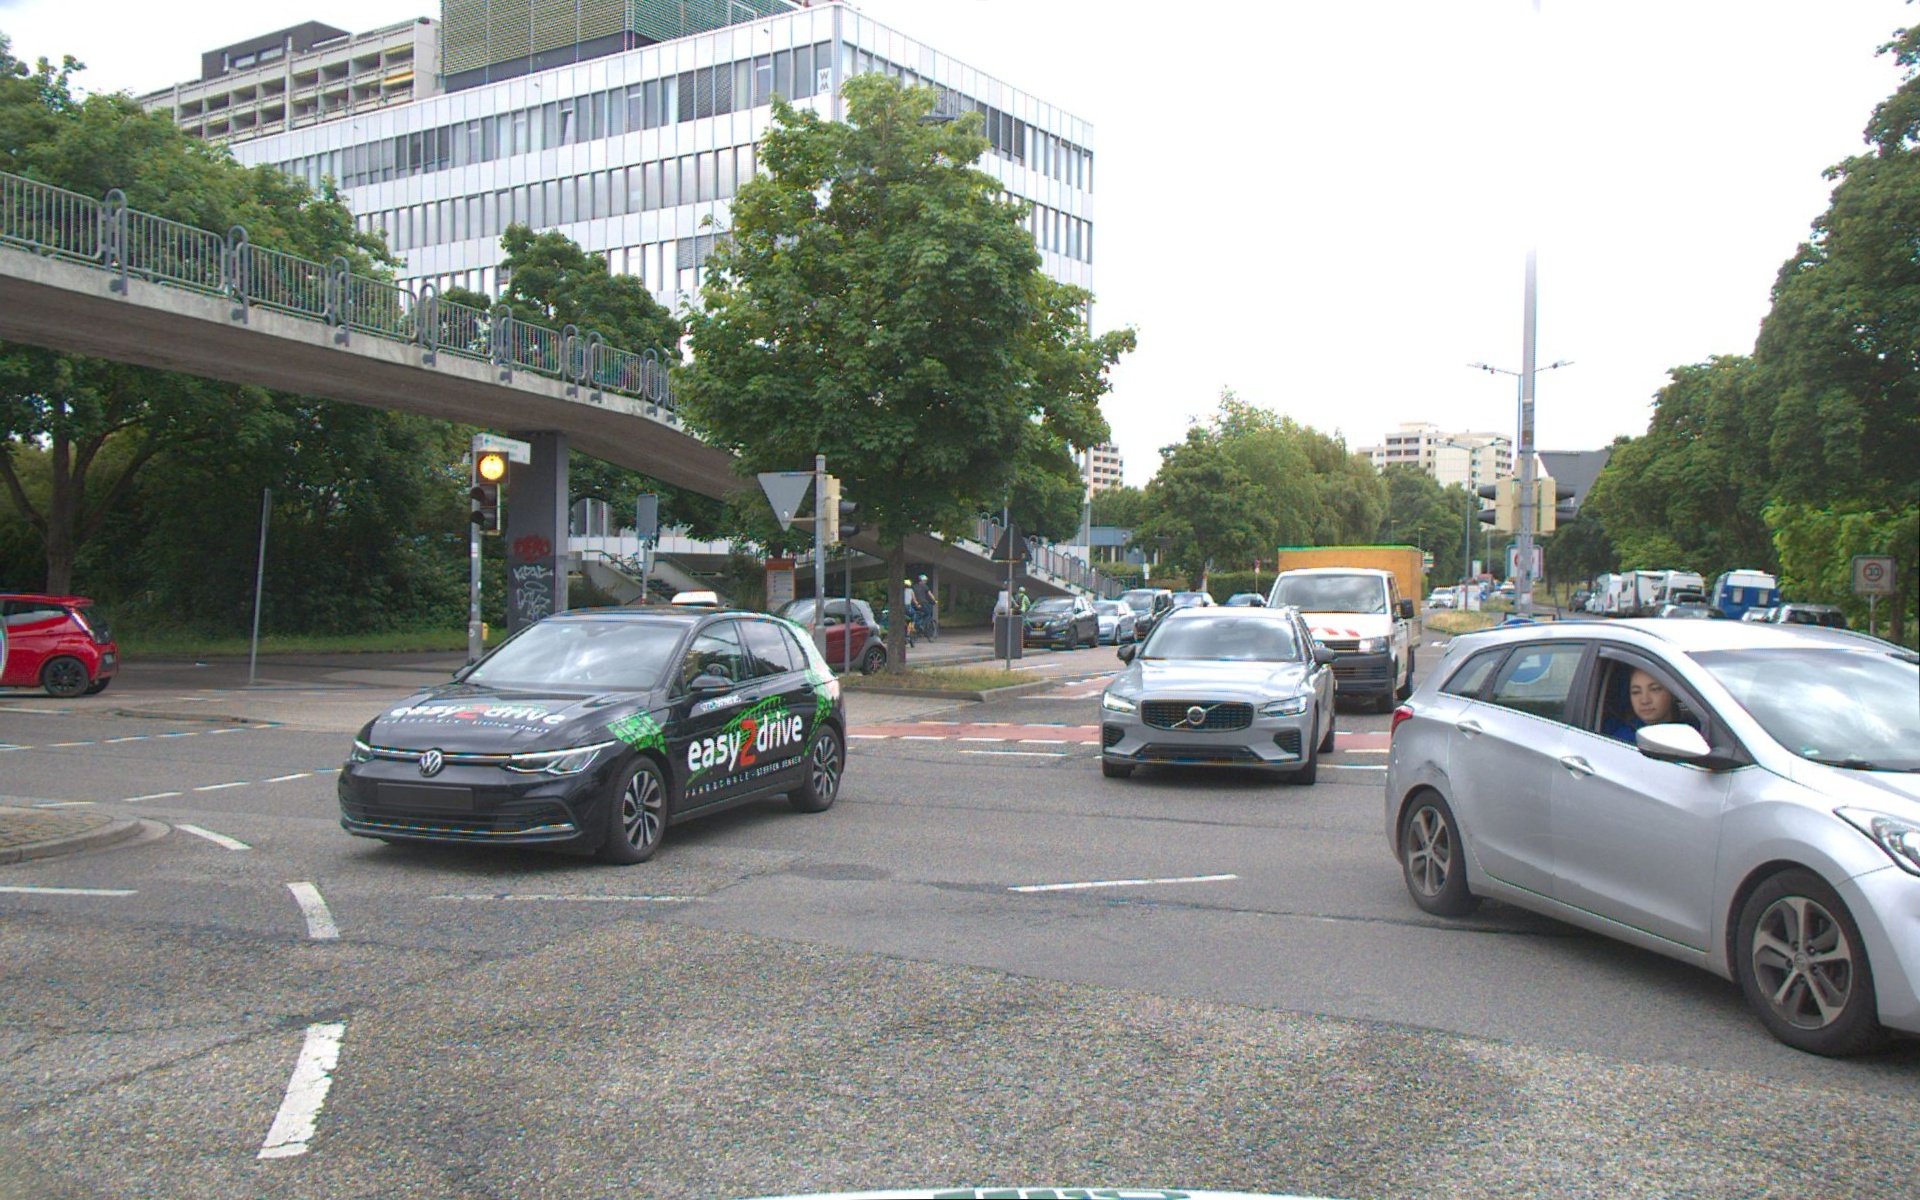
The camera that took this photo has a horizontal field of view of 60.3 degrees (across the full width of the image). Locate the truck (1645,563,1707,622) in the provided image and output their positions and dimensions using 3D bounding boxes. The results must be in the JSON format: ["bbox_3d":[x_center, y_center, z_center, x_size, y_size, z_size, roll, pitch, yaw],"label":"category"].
[{"bbox_3d":[36.379,-0.372,84.183,1.951,2.887,5.736,1,0,14],"label":"truck"}]

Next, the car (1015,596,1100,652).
[{"bbox_3d":[3.019,0.707,50.371,1.636,1.579,3.894,1,1,18],"label":"car"}]

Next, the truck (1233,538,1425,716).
[{"bbox_3d":[5.474,0.296,23.903,2.110,2.237,5.843,1,1,18],"label":"truck"}]

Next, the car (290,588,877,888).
[{"bbox_3d":[-2.121,0.681,10.745,1.733,1.503,4.392,1,1,18],"label":"car"}]

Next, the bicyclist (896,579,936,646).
[{"bbox_3d":[-1.291,0.348,48.642,0.838,1.926,1.128,1,1,19],"label":"bicyclist"}]

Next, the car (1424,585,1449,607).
[{"bbox_3d":[36.446,-0.287,126.442,1.610,1.621,4.001,1,0,19],"label":"car"}]

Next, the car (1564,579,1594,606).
[{"bbox_3d":[45.672,-0.579,122.066,1.616,1.952,3.922,1,1,13],"label":"car"}]

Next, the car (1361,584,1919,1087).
[{"bbox_3d":[3.471,0.717,7.031,1.757,1.545,4.313,0,1,-12],"label":"car"}]

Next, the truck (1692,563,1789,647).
[{"bbox_3d":[26.562,0.166,56.498,2.129,2.703,6.249,0,0,17],"label":"truck"}]

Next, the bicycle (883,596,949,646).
[{"bbox_3d":[-1.279,0.585,48.640,0.838,1.338,3.231,1,1,19],"label":"bicycle"}]

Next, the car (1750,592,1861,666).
[{"bbox_3d":[20.747,0.668,40.715,1.746,1.691,4.002,1,1,17],"label":"car"}]

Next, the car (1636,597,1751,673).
[{"bbox_3d":[16.008,0.715,36.296,1.760,1.482,4.543,1,1,17],"label":"car"}]

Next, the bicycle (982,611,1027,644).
[{"bbox_3d":[1.395,0.844,51.663,0.747,0.965,1.953,1,1,23],"label":"bicycle"}]

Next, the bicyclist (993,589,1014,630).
[{"bbox_3d":[1.348,0.287,51.392,0.397,1.201,0.377,8,4,19],"label":"bicyclist"}]

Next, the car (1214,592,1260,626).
[{"bbox_3d":[13.383,0.395,79.768,1.636,1.579,4.002,1,1,18],"label":"car"}]

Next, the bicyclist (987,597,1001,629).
[{"bbox_3d":[1.349,0.517,65.296,0.422,1.239,0.568,1,-1,17],"label":"bicyclist"}]

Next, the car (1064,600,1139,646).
[{"bbox_3d":[4.788,0.739,55.577,1.636,1.411,3.897,1,1,18],"label":"car"}]

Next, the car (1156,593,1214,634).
[{"bbox_3d":[9.200,0.523,67.365,1.636,1.579,4.002,1,1,18],"label":"car"}]

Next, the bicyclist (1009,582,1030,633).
[{"bbox_3d":[1.983,0.257,55.158,0.553,1.673,0.531,0,0,22],"label":"bicyclist"}]

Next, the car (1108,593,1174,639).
[{"bbox_3d":[6.658,0.549,60.575,1.636,1.579,3.764,1,1,18],"label":"car"}]

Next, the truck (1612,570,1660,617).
[{"bbox_3d":[39.181,-0.347,95.973,1.951,2.618,5.382,1,0,15],"label":"truck"}]

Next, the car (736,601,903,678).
[{"bbox_3d":[-2.647,0.717,31.575,1.535,1.369,2.955,1,1,41],"label":"car"}]

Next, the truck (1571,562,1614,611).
[{"bbox_3d":[40.809,-0.827,106.797,1.951,3.061,5.776,1,0,14],"label":"truck"}]

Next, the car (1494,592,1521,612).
[{"bbox_3d":[44.623,0.170,134.931,1.978,1.531,4.002,1,1,17],"label":"car"}]

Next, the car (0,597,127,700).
[{"bbox_3d":[-13.827,0.663,23.330,3.465,1.414,1.510,1,0,-17],"label":"car"}]

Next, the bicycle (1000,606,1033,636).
[{"bbox_3d":[1.870,0.695,54.806,0.515,0.965,1.709,1,0,22],"label":"bicycle"}]

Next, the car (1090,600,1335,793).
[{"bbox_3d":[2.499,0.747,15.344,1.856,1.445,4.740,1,1,13],"label":"car"}]
